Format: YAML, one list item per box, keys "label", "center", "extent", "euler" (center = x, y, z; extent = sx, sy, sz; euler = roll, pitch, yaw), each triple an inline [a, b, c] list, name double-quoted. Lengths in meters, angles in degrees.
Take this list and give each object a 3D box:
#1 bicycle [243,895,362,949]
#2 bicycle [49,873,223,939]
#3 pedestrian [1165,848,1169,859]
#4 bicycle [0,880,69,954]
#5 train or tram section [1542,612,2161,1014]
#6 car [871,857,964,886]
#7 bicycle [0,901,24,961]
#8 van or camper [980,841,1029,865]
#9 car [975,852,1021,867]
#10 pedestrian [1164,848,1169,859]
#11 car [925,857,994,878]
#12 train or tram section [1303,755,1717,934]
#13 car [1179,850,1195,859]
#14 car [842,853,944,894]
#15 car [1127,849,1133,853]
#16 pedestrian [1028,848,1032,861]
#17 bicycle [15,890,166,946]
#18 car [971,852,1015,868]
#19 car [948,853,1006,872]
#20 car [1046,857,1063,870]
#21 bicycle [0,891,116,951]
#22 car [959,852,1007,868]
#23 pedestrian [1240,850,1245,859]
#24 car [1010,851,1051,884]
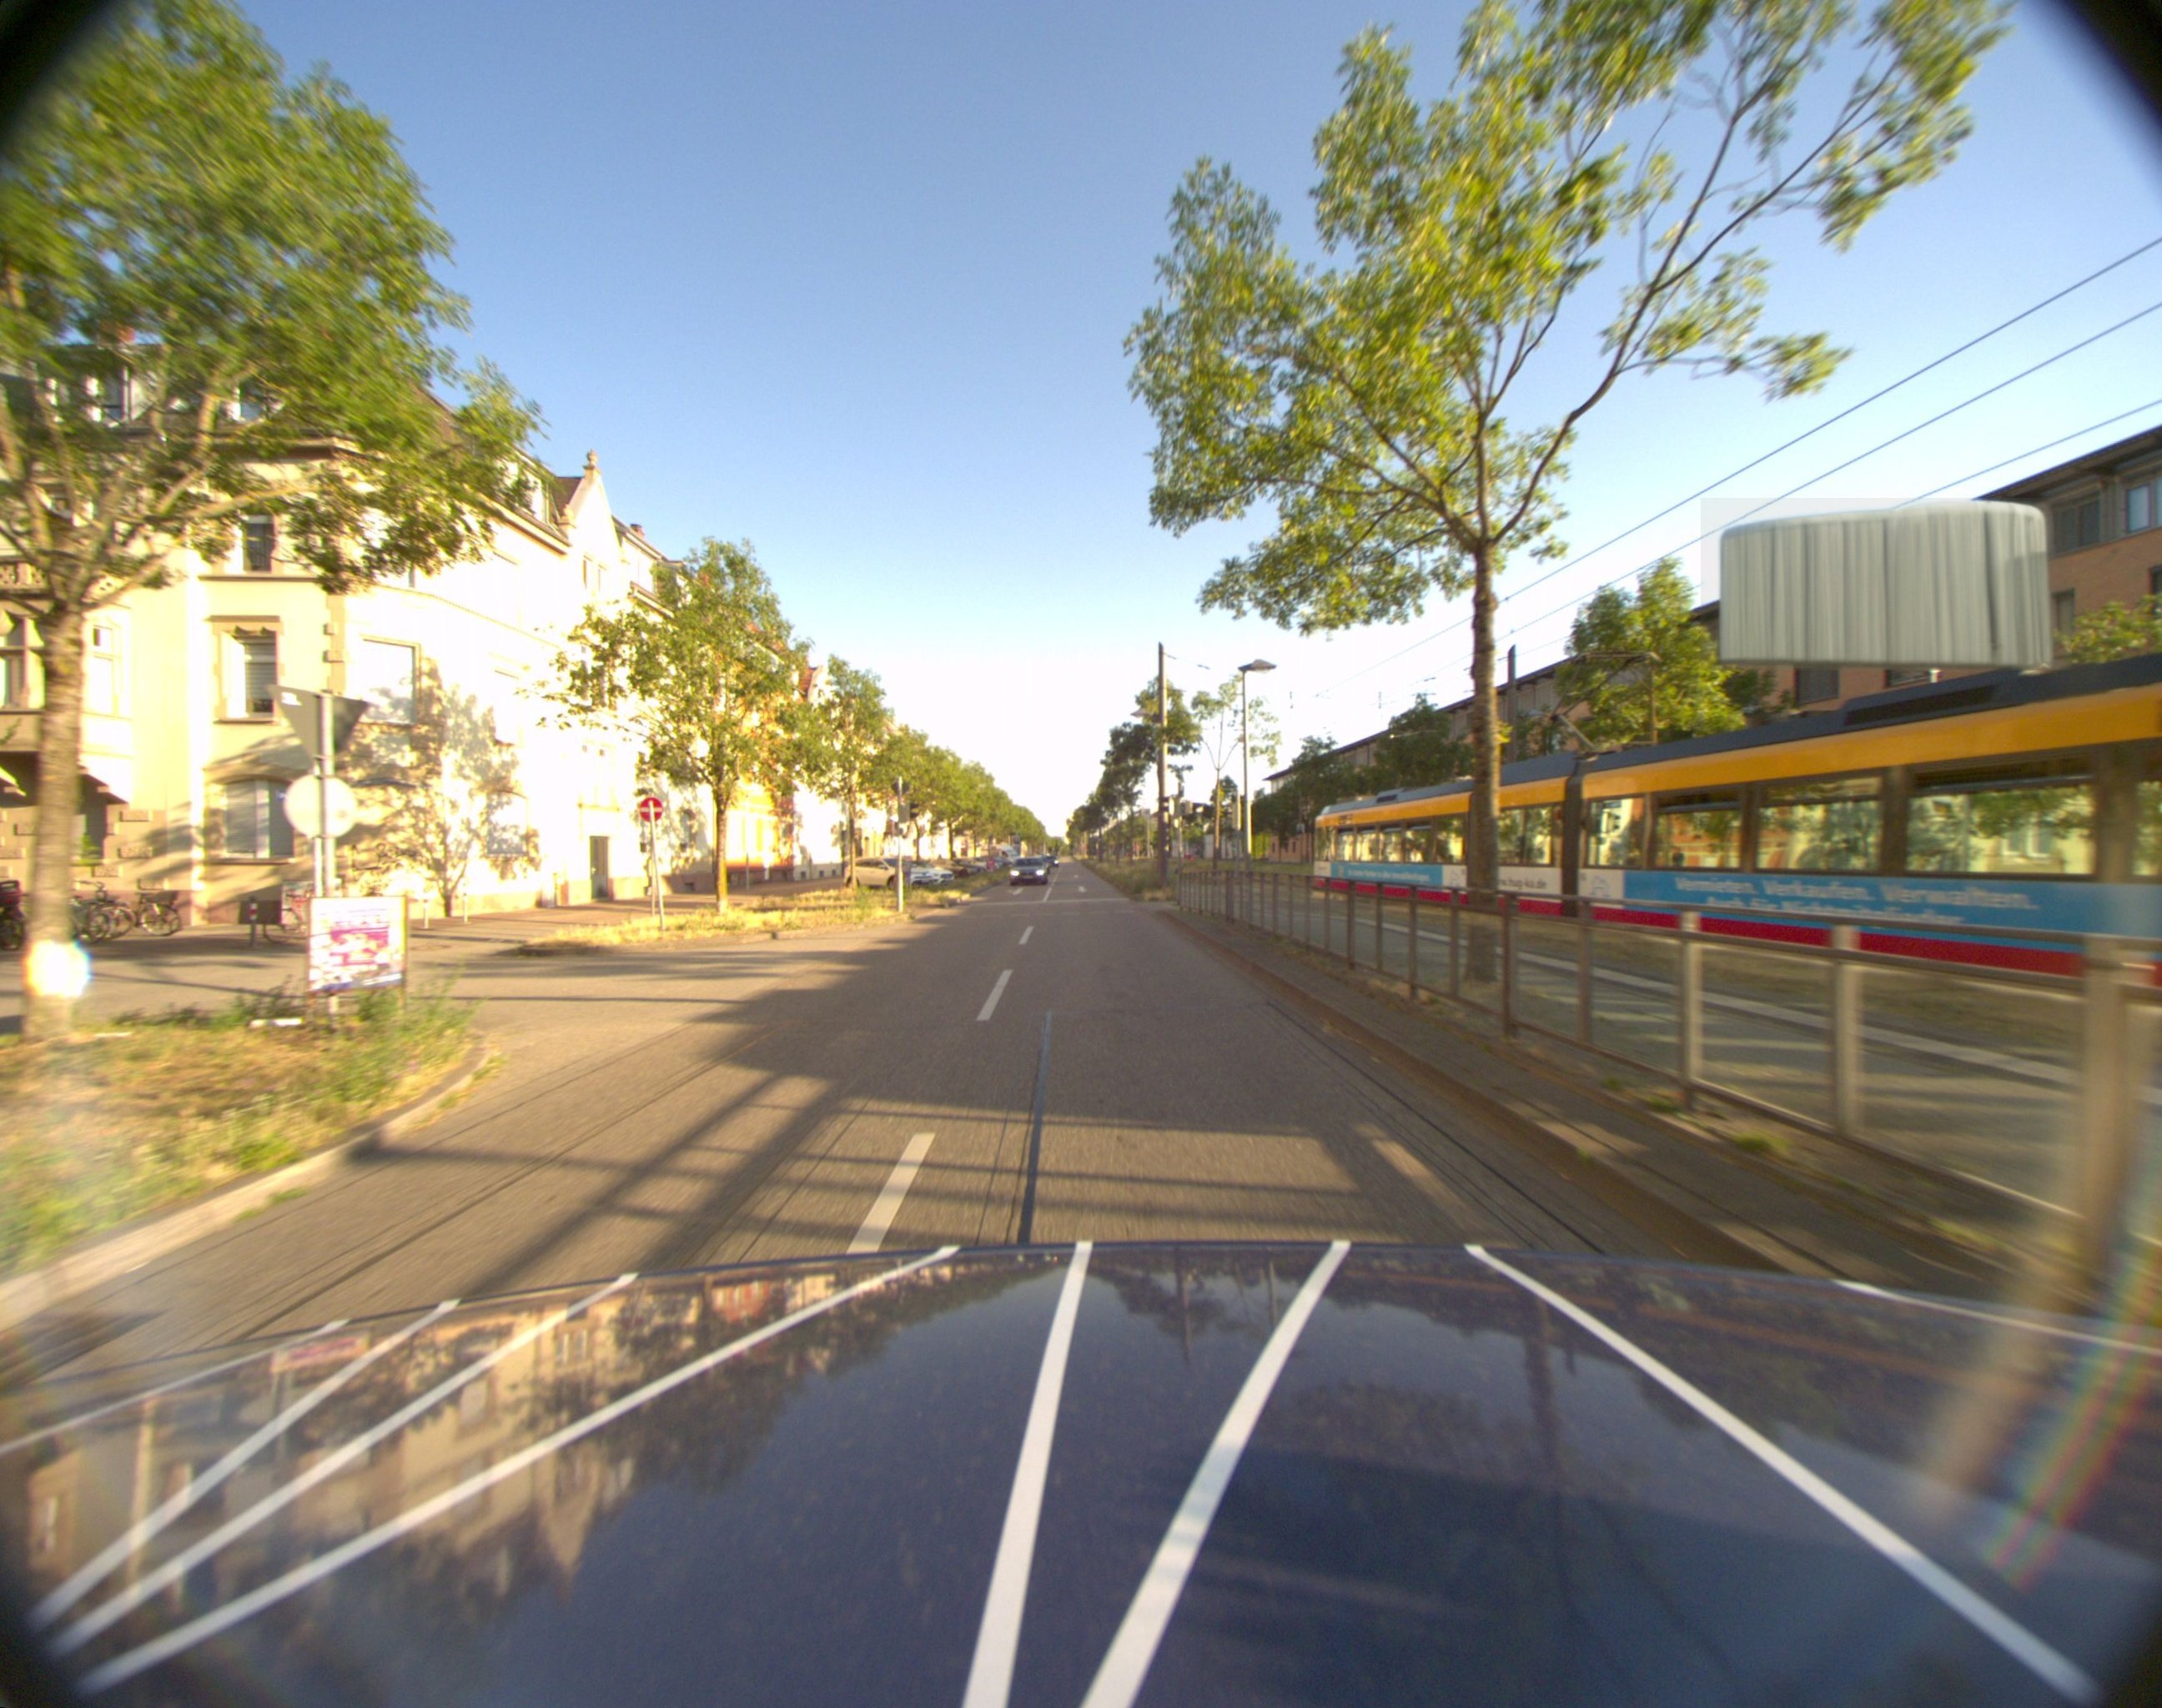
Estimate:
- label: "bicycle"
  center: [-15.782, 1.351, 15.474]
  extent: [0.461, 0.868, 1.884]
  euler: [5, 1, -1]
- label: "bicycle"
  center: [-20.639, 1.119, 16.631]
  extent: [2.672, 1.376, 0.730]
  euler: [0, 1, -4]
- label: "pedestrian"
  center: [13.516, -0.126, 119.389]
  extent: [0.515, 1.675, 0.548]
  euler: [-1, 1, -29]
- label: "bicycle"
  center: [-20.618, 1.174, 14.148]
  extent: [2.356, 1.312, 0.730]
  euler: [0, 1, -4]
- label: "train or tram section"
  center: [10.634, -0.365, 7.668]
  extent: [3.440, 3.320, 13.855]
  euler: [-1, 0, -1]
- label: "car"
  center: [-8.568, 0.880, 39.765]
  extent: [4.542, 1.392, 2.034]
  euler: [0, 1, 30]
- label: "bicycle"
  center: [-20.373, 1.391, 13.363]
  extent: [2.334, 1.044, 0.730]
  euler: [0, 1, -4]
- label: "van or camper"
  center: [-9.289, -0.148, 91.977]
  extent: [5.635, 2.796, 2.208]
  euler: [0, 1, 31]
- label: "car"
  center: [-8.661, 0.602, 78.910]
  extent: [4.424, 1.415, 1.926]
  euler: [-2, 0, 31]
- label: "pedestrian"
  center: [13.514, -0.102, 120.577]
  extent: [0.515, 1.675, 0.548]
  euler: [-2, 0, -29]
- label: "car"
  center: [-8.402, 0.900, 52.524]
  extent: [4.570, 1.340, 1.900]
  euler: [0, 1, 32]
- label: "train or tram section"
  center: [10.480, -0.238, 22.150]
  extent: [3.440, 3.410, 15.024]
  euler: [-1, 0, -1]
- label: "car"
  center: [15.921, 0.031, 114.255]
  extent: [1.795, 1.368, 3.999]
  euler: [-1, 0, -1]
- label: "car"
  center: [-8.378, 0.828, 33.744]
  extent: [4.420, 1.681, 1.920]
  euler: [-1, 0, 34]
- label: "car"
  center: [16.396, -0.908, 253.865]
  extent: [1.795, 1.368, 3.999]
  euler: [-2, 0, -1]
- label: "pedestrian"
  center: [-8.034, 0.103, 119.240]
  extent: [0.514, 2.002, 0.598]
  euler: [-1, 1, -1]
- label: "bicycle"
  center: [-20.508, 1.315, 15.759]
  extent: [2.211, 1.099, 0.538]
  euler: [0, 1, -4]
- label: "car"
  center: [-8.766, 0.584, 75.894]
  extent: [4.042, 1.429, 1.730]
  euler: [-1, 1, 28]
- label: "car"
  center: [-8.556, 0.709, 62.476]
  extent: [4.633, 1.501, 1.851]
  euler: [0, 1, 35]
- label: "car"
  center: [-3.169, 1.140, 92.119]
  extent: [1.870, 1.586, 3.952]
  euler: [-1, 0, 1]
- label: "bicycle"
  center: [-20.628, 1.331, 15.109]
  extent: [1.978, 1.117, 0.575]
  euler: [0, 1, -4]
- label: "car"
  center: [-9.491, 0.595, 73.201]
  extent: [4.424, 1.408, 1.889]
  euler: [-1, 0, 36]
- label: "pedestrian"
  center: [25.200, 0.073, 118.502]
  extent: [0.587, 1.359, 0.575]
  euler: [-1, 1, -7]
- label: "car"
  center: [-2.616, 0.669, 39.958]
  extent: [1.999, 1.655, 3.999]
  euler: [0, 0, -2]
